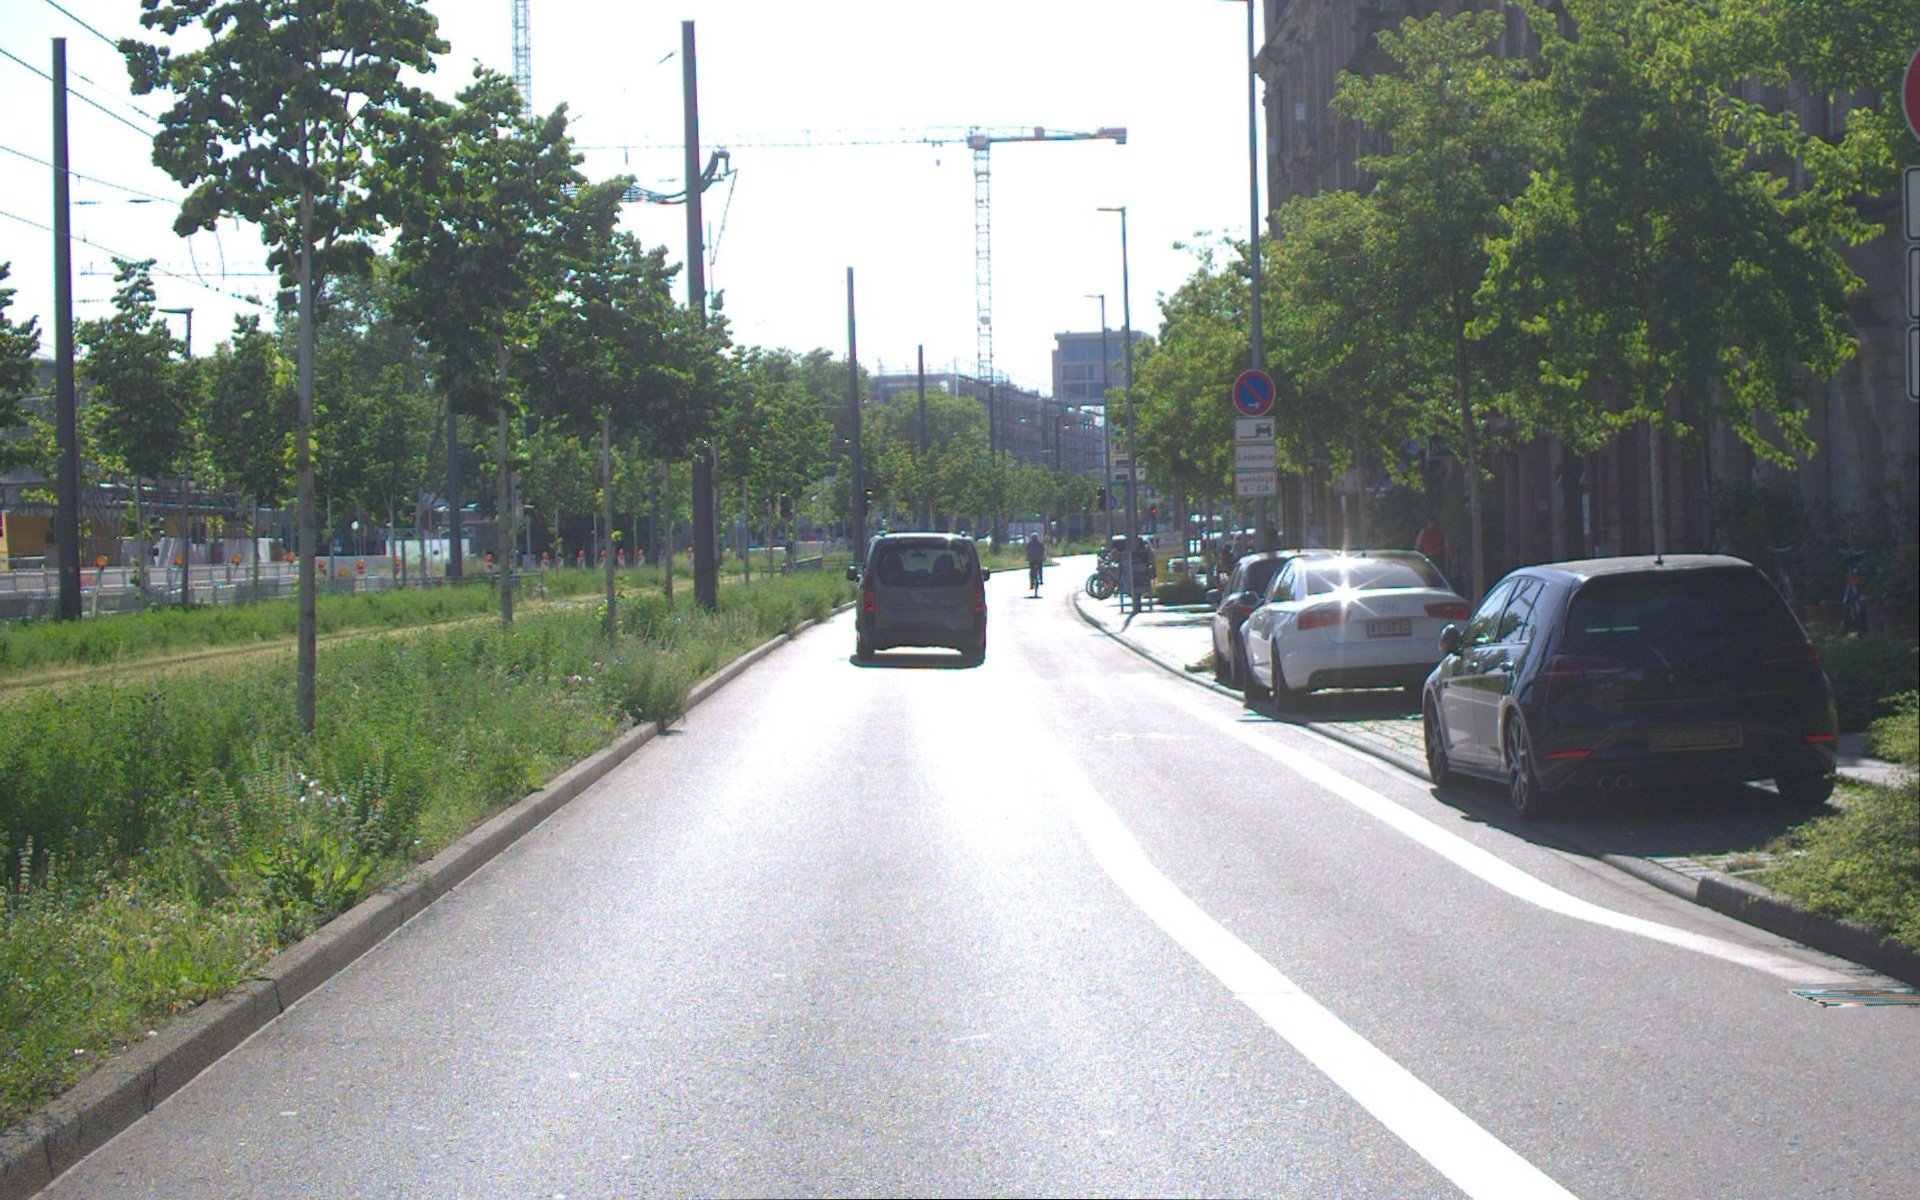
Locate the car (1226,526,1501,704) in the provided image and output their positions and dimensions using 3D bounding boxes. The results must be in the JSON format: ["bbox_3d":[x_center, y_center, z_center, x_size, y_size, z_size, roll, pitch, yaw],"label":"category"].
[{"bbox_3d":[3.814,0.082,33.359,1.951,1.490,5.105,-3,1,0],"label":"car"}]

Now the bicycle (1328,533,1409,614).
[{"bbox_3d":[5.924,-0.391,49.966,0.650,1.116,2.173,-3,1,-6],"label":"bicycle"}]

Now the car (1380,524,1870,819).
[{"bbox_3d":[3.841,0.362,20.653,1.765,1.472,4.449,-4,1,-3],"label":"car"}]

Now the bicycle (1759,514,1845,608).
[{"bbox_3d":[10.149,-0.481,41.488,0.481,1.086,2.057,-2,1,0],"label":"bicycle"}]

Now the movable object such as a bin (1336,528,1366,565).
[{"bbox_3d":[9.727,-1.336,85.501,0.604,0.913,0.650,-1,1,-5],"label":"movable object such as a bin"}]

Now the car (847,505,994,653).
[{"bbox_3d":[-0.593,-0.313,49.031,1.993,2.007,4.000,0,1,-1],"label":"car"}]

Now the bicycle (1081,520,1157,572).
[{"bbox_3d":[4.198,-1.422,90.718,1.878,1.229,0.500,-4,1,-6],"label":"bicycle"}]

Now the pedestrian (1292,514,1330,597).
[{"bbox_3d":[8.705,-1.100,85.235,0.817,2.007,1.046,0,-1,0],"label":"pedestrian"}]

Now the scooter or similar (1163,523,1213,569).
[{"bbox_3d":[5.818,-1.390,87.867,1.220,1.102,0.783,-3,2,3],"label":"scooter or similar"}]

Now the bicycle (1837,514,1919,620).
[{"bbox_3d":[10.142,-0.372,37.144,0.721,1.086,2.199,-2,1,0],"label":"bicycle"}]

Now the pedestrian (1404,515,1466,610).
[{"bbox_3d":[8.734,-0.693,63.271,0.996,1.725,0.866,0,1,-1],"label":"pedestrian"}]

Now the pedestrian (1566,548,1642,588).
[{"bbox_3d":[10.098,-0.509,53.972,0.773,0.551,2.008,-2,2,-1],"label":"pedestrian"}]

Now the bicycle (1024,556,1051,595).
[{"bbox_3d":[2.218,-0.702,98.456,0.701,1.087,2.277,-1,1,-1],"label":"bicycle"}]

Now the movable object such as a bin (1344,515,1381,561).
[{"bbox_3d":[9.655,-1.484,82.488,0.725,1.094,0.748,-1,1,-5],"label":"movable object such as a bin"}]

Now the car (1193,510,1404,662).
[{"bbox_3d":[3.879,-0.182,40.093,1.884,1.564,4.221,-4,1,-1],"label":"car"}]

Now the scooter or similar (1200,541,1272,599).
[{"bbox_3d":[6.194,-0.676,77.146,1.473,1.212,0.602,-4,2,-4],"label":"scooter or similar"}]

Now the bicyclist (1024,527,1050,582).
[{"bbox_3d":[2.201,-1.309,98.580,0.683,1.579,0.840,-1,1,-1],"label":"bicyclist"}]
